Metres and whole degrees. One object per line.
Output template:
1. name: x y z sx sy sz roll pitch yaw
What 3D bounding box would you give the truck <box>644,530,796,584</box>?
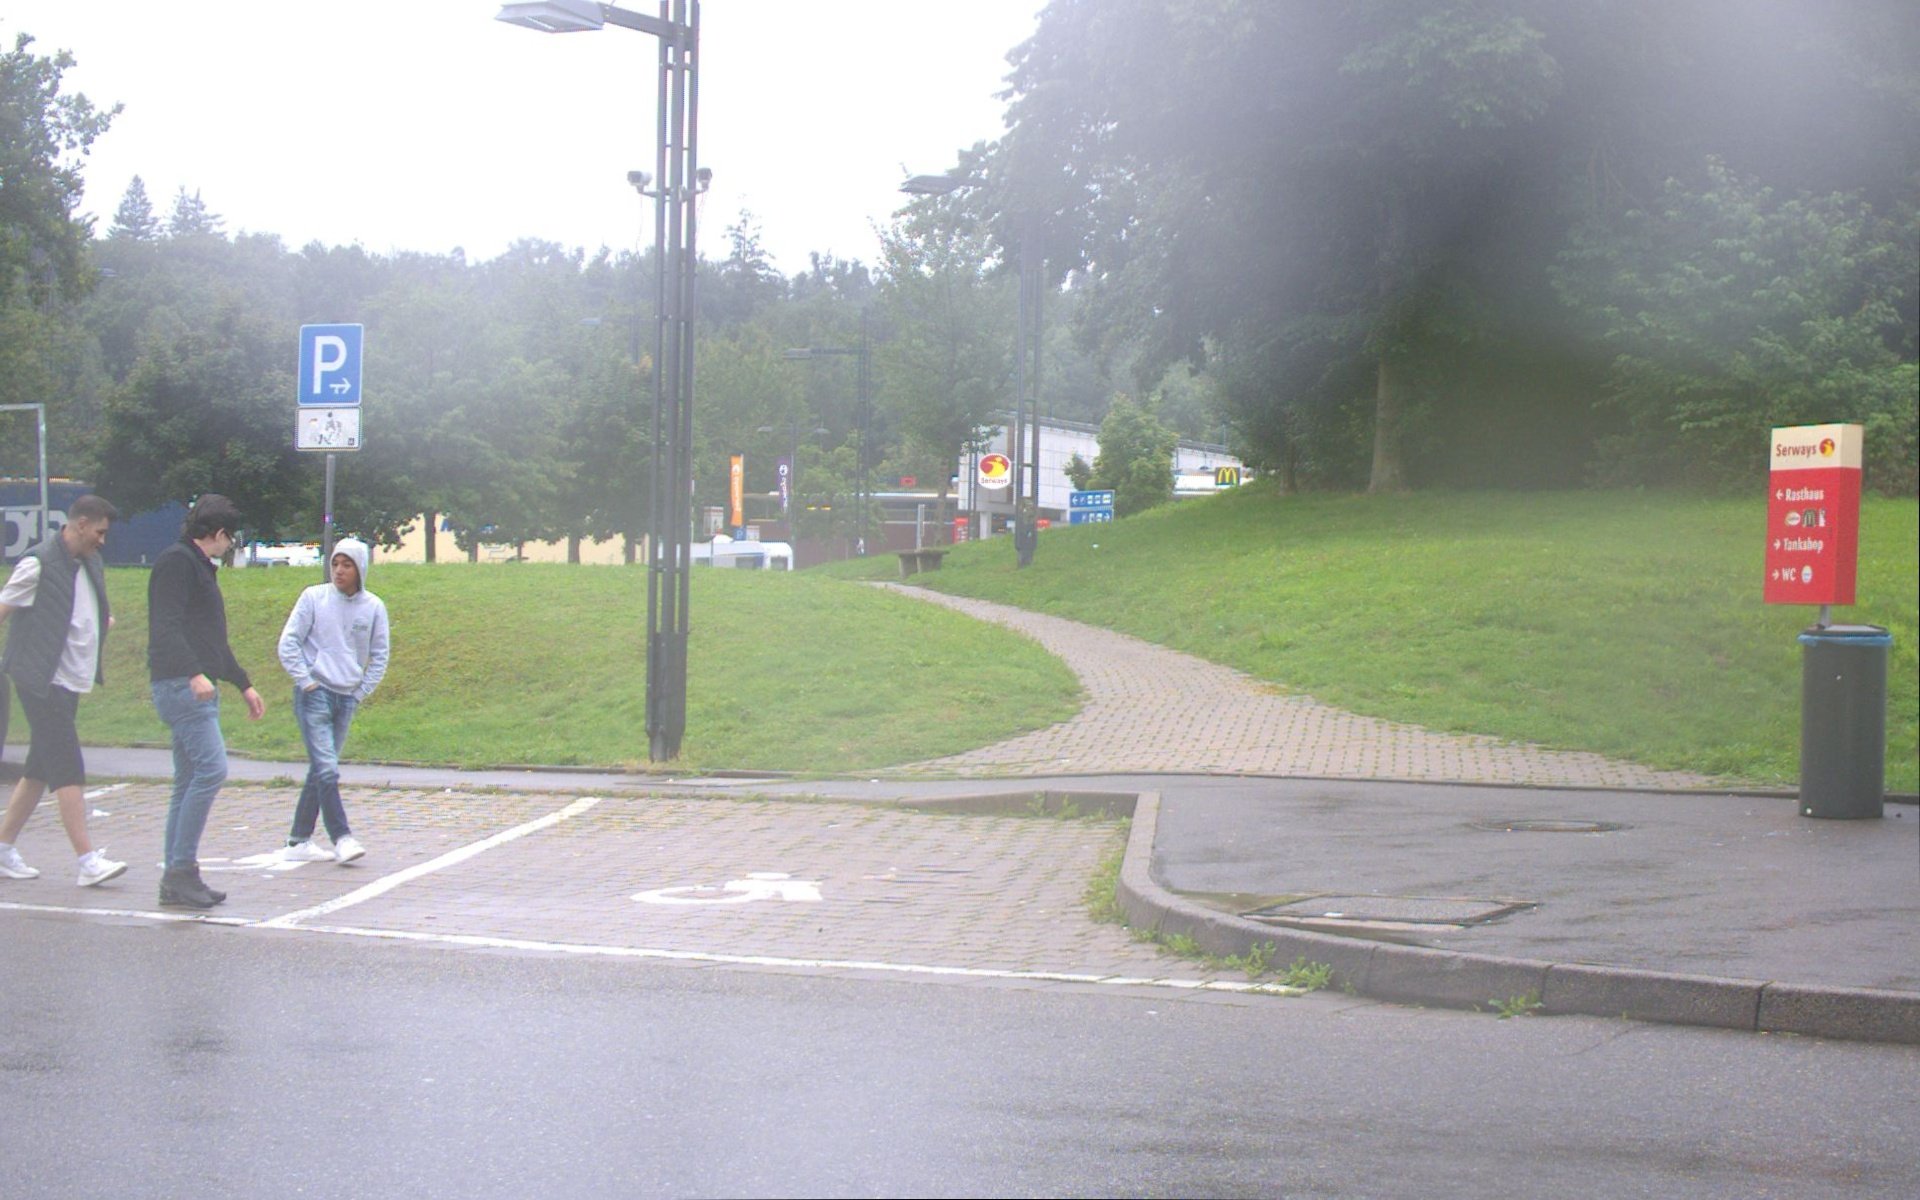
1. truck: -9.331 -1.663 133.791 5.413 2.007 2.364 1 1 25

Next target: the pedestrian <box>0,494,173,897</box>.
1. pedestrian: -4.362 0.440 16.470 0.951 1.880 0.704 1 0 7

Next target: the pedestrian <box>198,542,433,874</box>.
1. pedestrian: -3.257 0.530 17.408 0.951 1.626 0.703 1 0 13

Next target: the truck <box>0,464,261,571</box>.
1. truck: -25.468 -2.370 101.614 2.188 2.910 13.082 1 1 24

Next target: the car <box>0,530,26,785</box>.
1. car: -7.803 0.450 21.477 2.018 1.705 4.341 -1 1 12

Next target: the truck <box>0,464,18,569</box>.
1. truck: -28.606 -2.346 94.644 2.189 2.910 5.380 1 1 24

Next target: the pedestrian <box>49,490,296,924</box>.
1. pedestrian: -3.505 0.463 15.352 0.891 1.880 0.704 1 0 4
